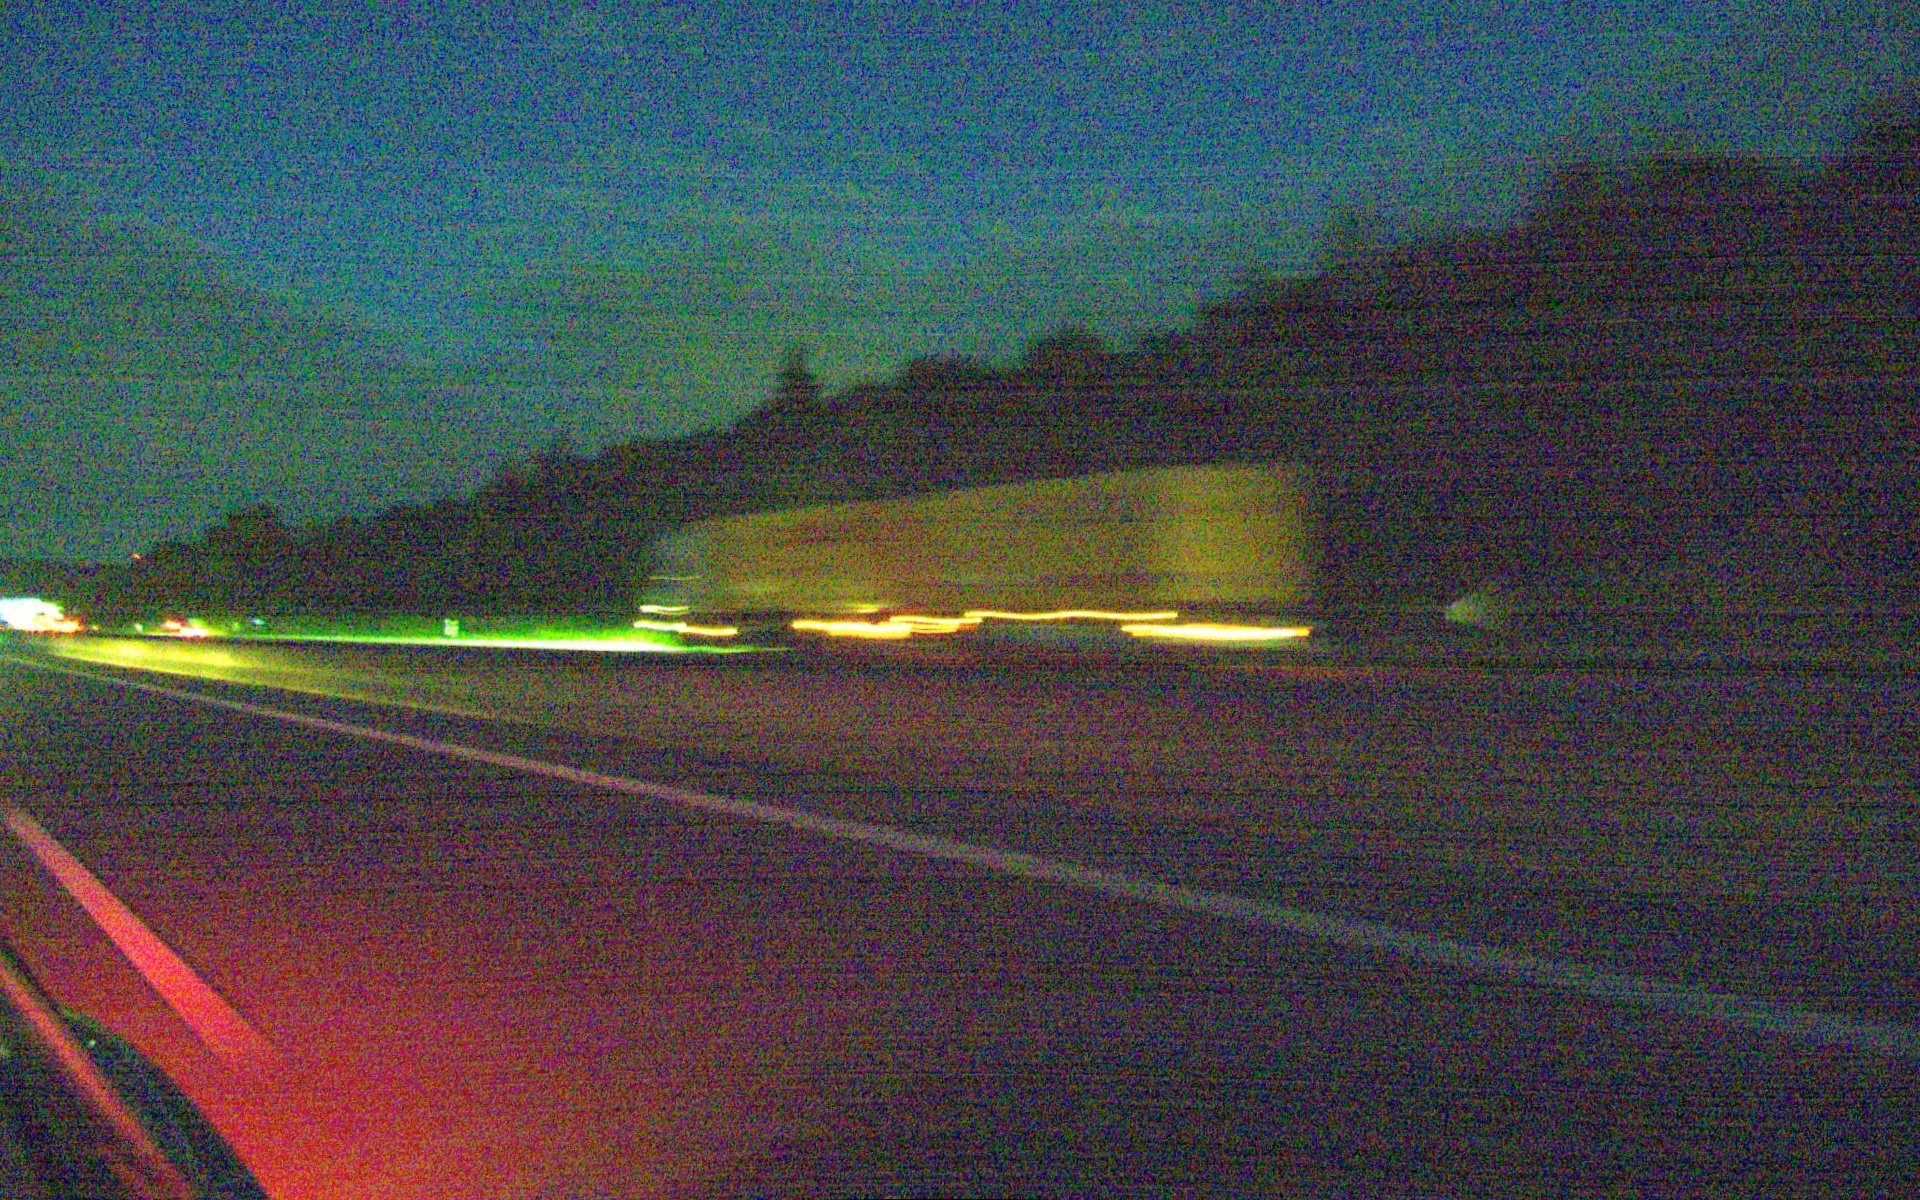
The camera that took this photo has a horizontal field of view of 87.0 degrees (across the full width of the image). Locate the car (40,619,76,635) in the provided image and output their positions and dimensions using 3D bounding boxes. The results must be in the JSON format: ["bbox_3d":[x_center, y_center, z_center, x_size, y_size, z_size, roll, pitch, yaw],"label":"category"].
[{"bbox_3d":[-95.004,2.850,106.599,4.885,1.610,2.221,-2,-1,41],"label":"car"}]

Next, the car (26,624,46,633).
[{"bbox_3d":[-171.176,5.255,187.460,4.887,1.681,2.220,-2,-1,43],"label":"car"}]

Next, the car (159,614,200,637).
[{"bbox_3d":[-63.913,2.079,82.847,4.880,1.760,1.893,-1,-1,42],"label":"car"}]

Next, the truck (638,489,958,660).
[{"bbox_3d":[-5.008,-0.548,28.852,10.630,4.102,2.830,-1,0,41],"label":"truck"}]

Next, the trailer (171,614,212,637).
[{"bbox_3d":[-60.687,1.987,79.888,3.844,1.760,1.876,-1,-1,42],"label":"trailer"}]

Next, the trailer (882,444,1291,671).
[{"bbox_3d":[2.416,-0.713,22.334,8.867,4.102,2.830,-1,0,41],"label":"trailer"}]
